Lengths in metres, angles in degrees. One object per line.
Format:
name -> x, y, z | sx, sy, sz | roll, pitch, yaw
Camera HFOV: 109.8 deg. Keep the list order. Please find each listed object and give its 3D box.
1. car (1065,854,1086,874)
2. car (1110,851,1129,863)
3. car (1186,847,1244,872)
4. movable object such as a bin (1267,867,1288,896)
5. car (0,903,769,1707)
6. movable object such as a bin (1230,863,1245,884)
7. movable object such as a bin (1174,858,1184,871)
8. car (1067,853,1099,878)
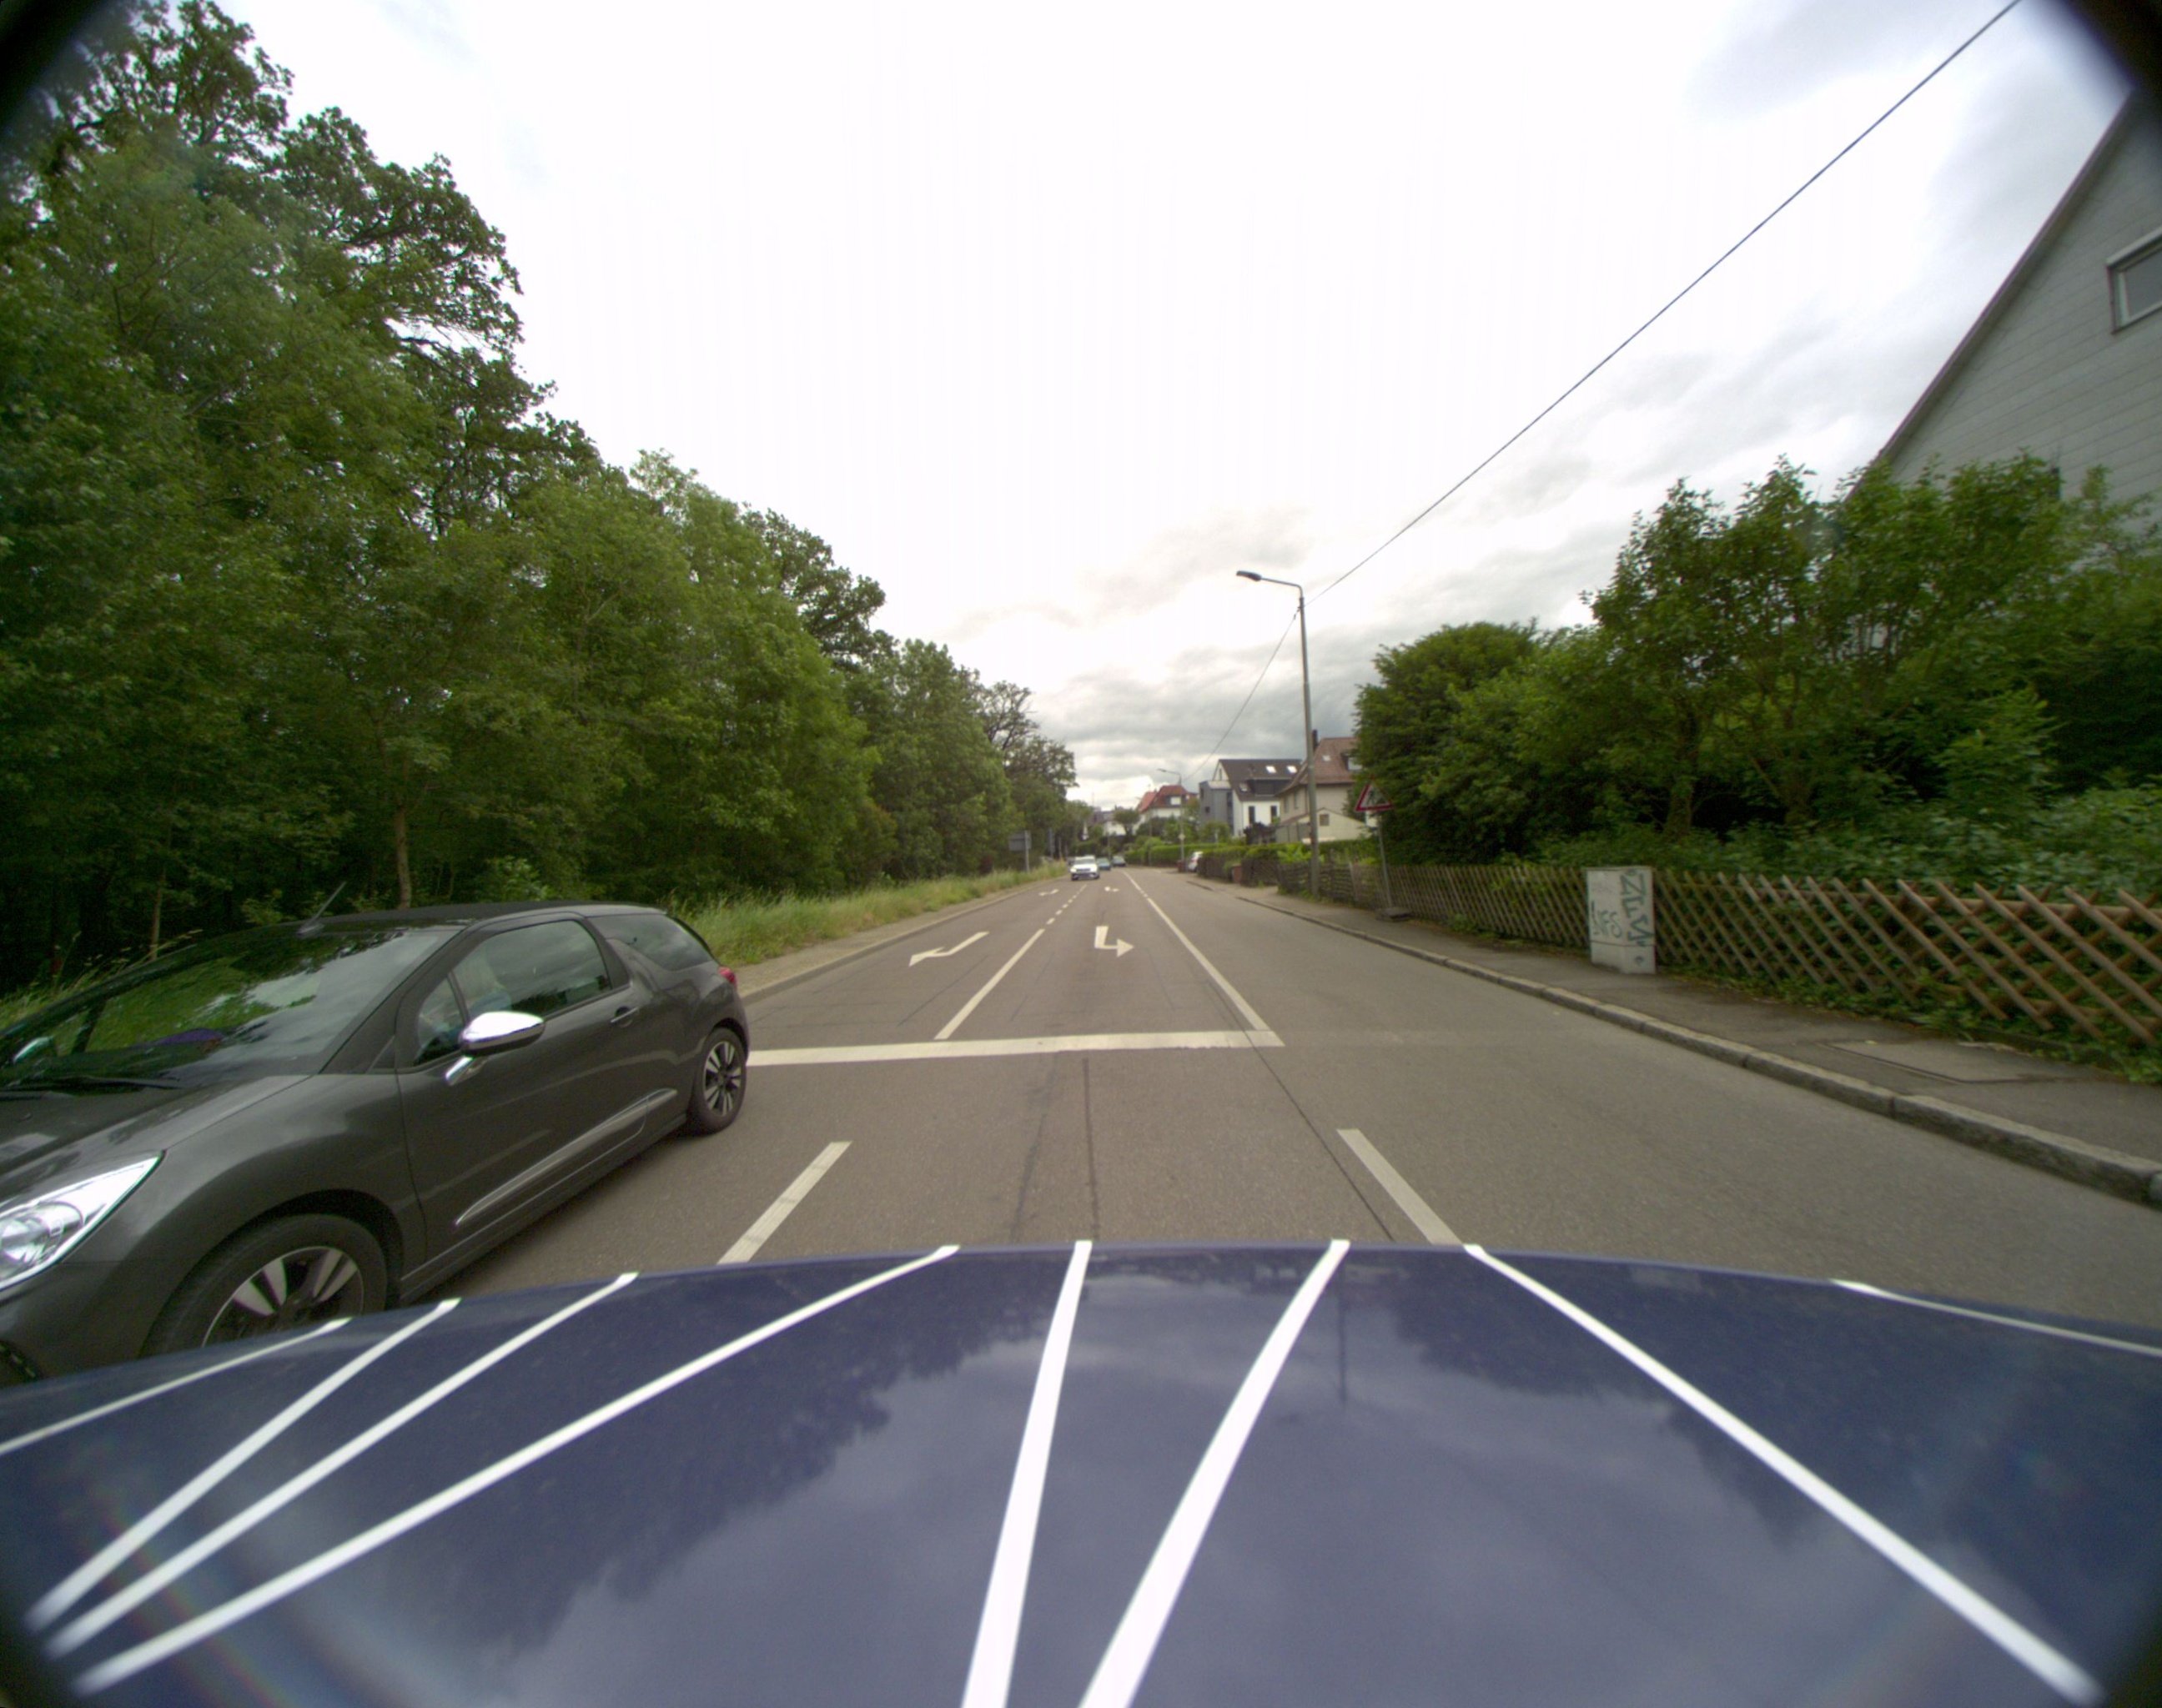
car -> -0.577, 1.001, 81.363 | 1.998, 2.002, 4.000 | -2, 0, 2
car -> 5.245, 0.405, 103.123 | 1.840, 1.514, 3.997 | -2, 0, -8
car -> 10.106, 0.405, 57.578 | 3.996, 1.584, 1.719 | -4, 0, 2
movable object such as a bin -> 6.665, 0.929, 25.811 | 0.551, 0.933, 0.538 | -2, 1, 4
car -> -3.058, 1.108, 3.142 | 1.730, 1.449, 3.855 | -3, 0, 2
movable object such as a bin -> 7.335, 0.909, 35.542 | 0.634, 0.907, 0.561 | -4, 0, 12
movable object such as a bin -> 7.779, 0.837, 60.558 | 0.689, 0.948, 0.572 | -2, 1, 0
car -> 0.177, 0.801, 54.409 | 1.998, 1.565, 4.001 | -3, 0, 4
